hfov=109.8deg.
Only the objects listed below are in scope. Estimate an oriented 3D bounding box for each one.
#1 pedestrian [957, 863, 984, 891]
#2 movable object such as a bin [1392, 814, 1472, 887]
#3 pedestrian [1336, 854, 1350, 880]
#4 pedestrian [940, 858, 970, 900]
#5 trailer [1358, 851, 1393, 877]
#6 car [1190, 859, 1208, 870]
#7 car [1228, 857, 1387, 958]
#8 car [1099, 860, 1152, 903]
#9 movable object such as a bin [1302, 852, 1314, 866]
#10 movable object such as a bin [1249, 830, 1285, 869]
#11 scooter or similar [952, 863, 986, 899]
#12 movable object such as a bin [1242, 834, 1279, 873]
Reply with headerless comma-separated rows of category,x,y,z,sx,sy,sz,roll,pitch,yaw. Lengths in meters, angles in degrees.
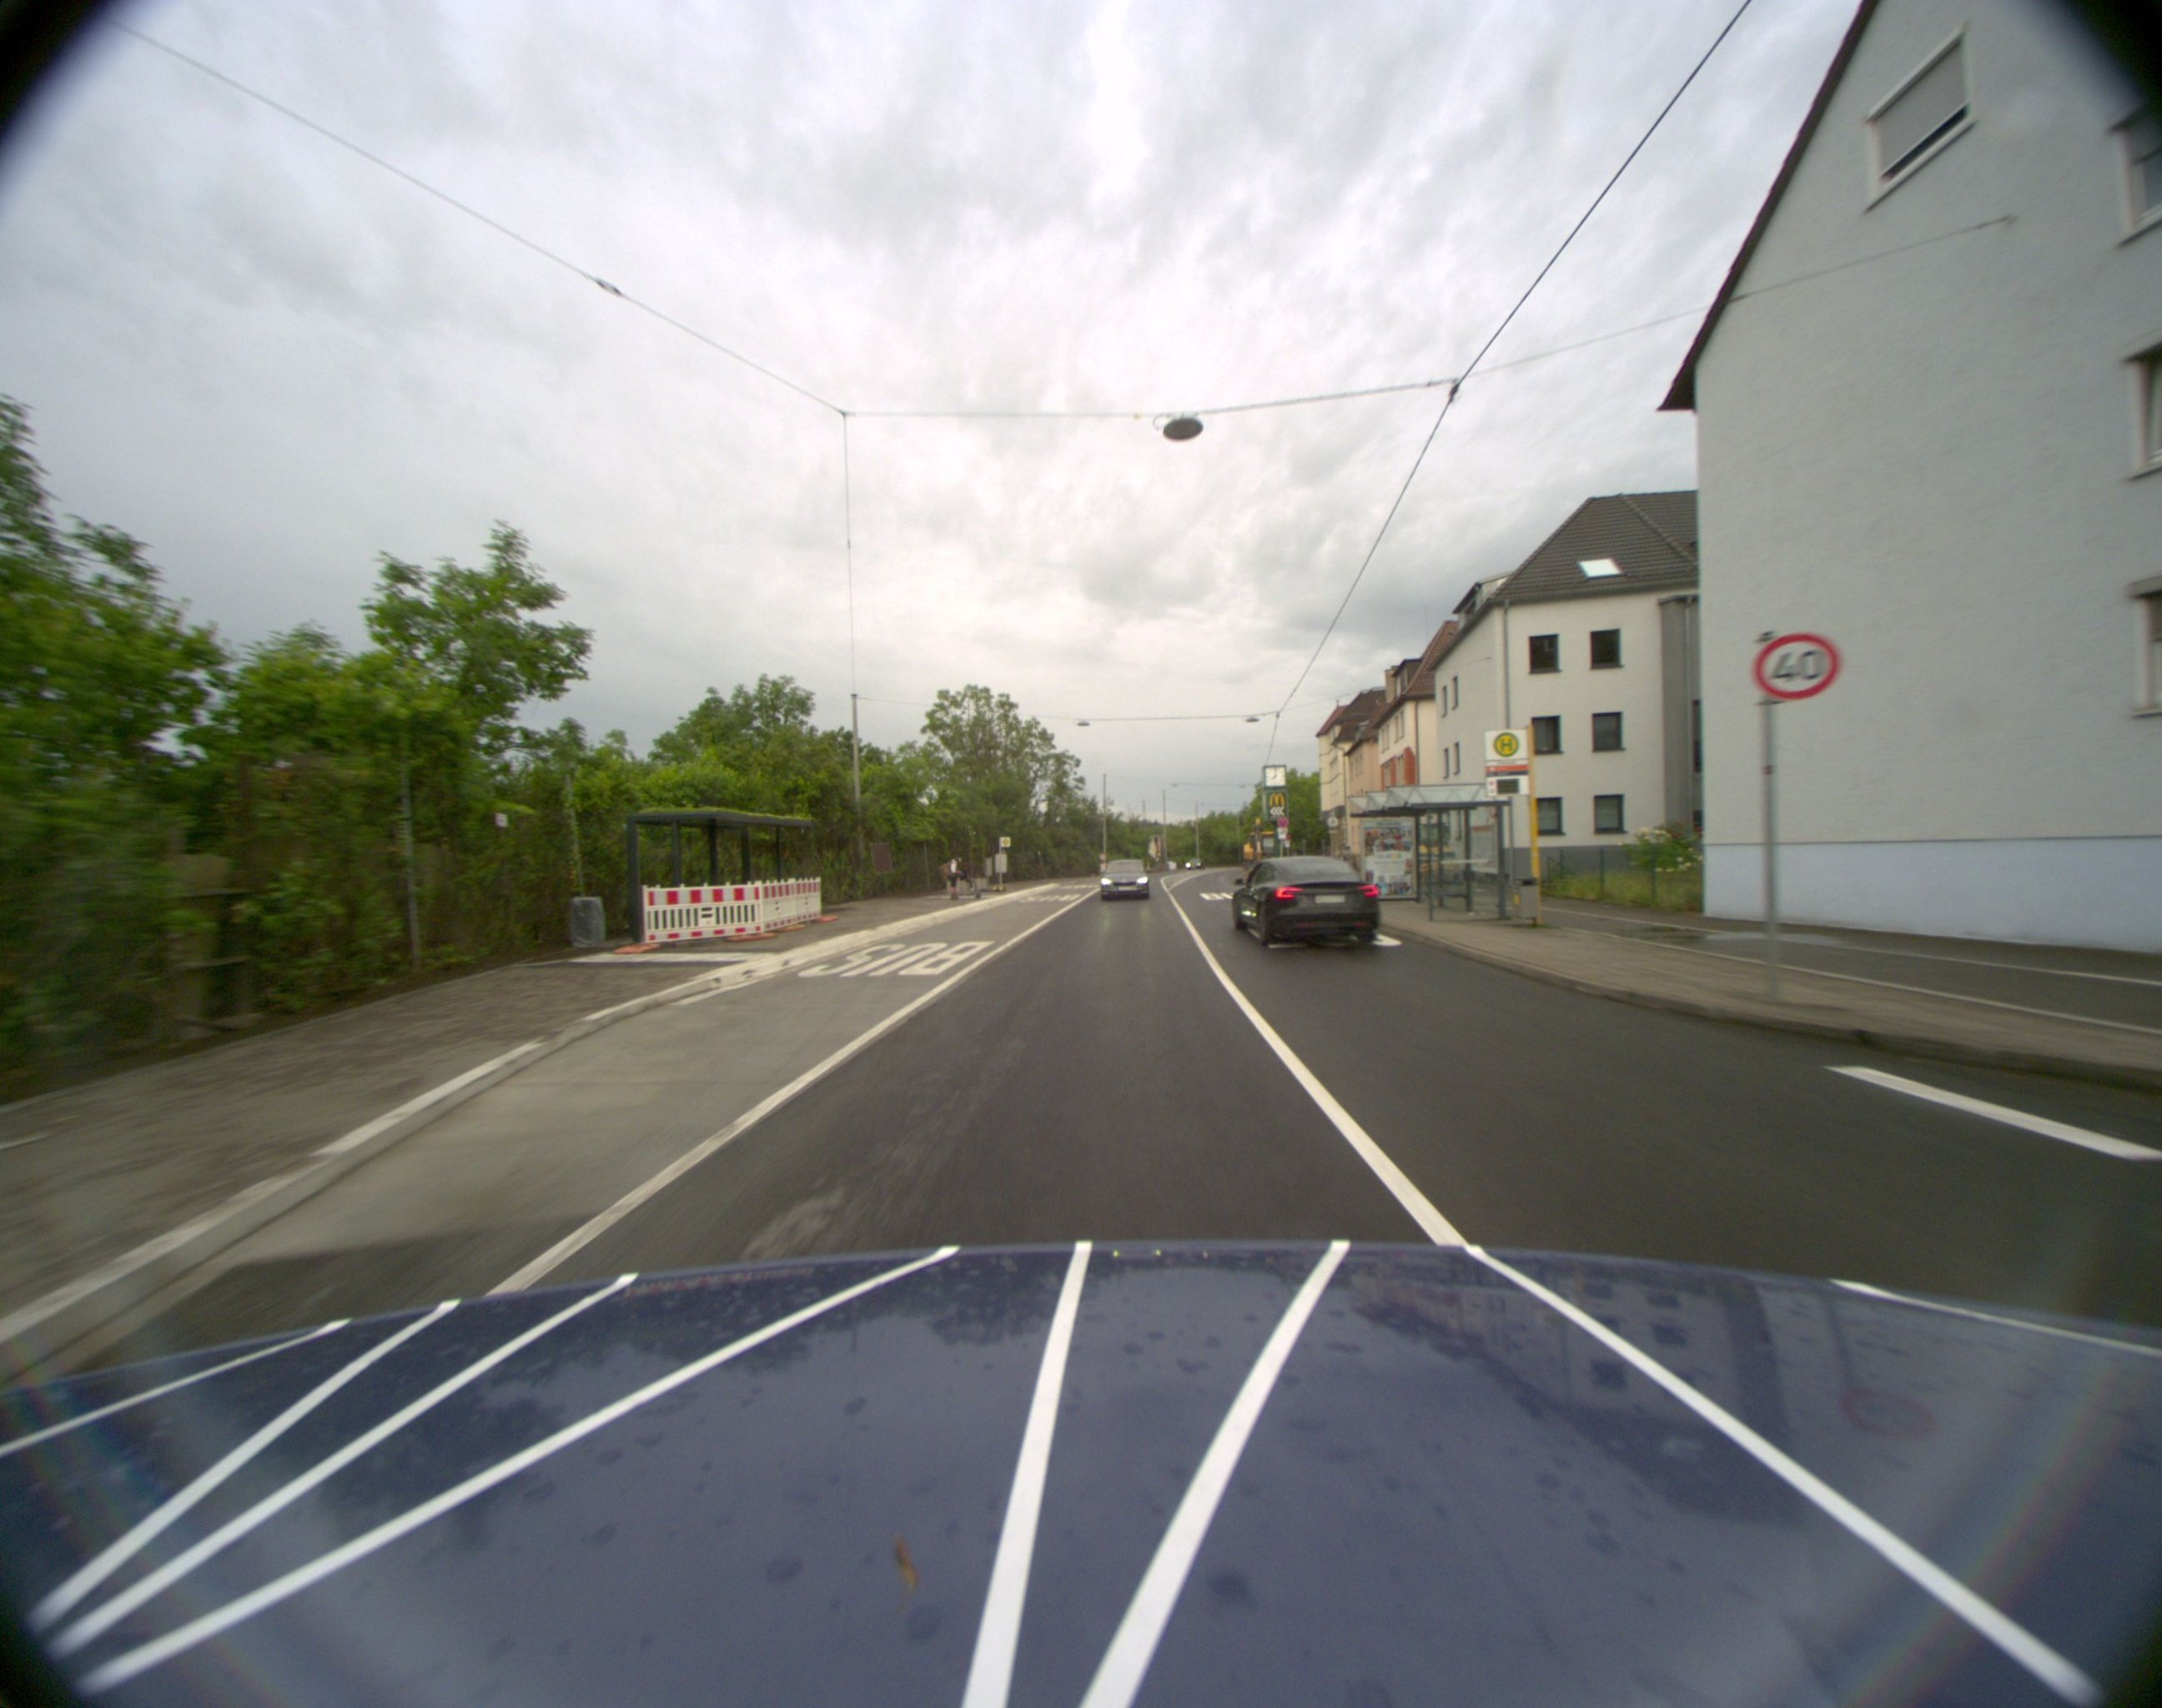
pedestrian,-5.474,1.115,37.664,1.069,1.322,0.808,-2,1,-31
movable object such as a bin,14.929,-0.130,32.628,2.132,2.790,4.984,-4,-1,15
pedestrian,15.923,0.769,46.220,0.603,1.519,1.039,-3,-1,11
pedestrian,-4.735,0.930,28.496,0.922,1.538,0.543,-2,1,-31
trailer,17.096,0.557,44.254,1.326,1.390,4.000,-2,0,13
car,14.701,1.283,94.477,1.604,1.295,3.718,-3,-1,18
car,3.833,0.815,13.617,1.787,1.444,4.391,-2,0,4
car,1.715,0.996,29.029,1.836,1.429,4.001,-2,0,4
movable object such as a bin,22.928,0.507,76.693,1.159,1.294,1.249,-2,0,19
movable object such as a bin,19.772,-0.441,80.387,2.952,3.821,8.138,-2,0,19
scooter or similar,-4.188,1.014,28.549,1.245,1.307,0.231,-2,1,-34
movable object such as a bin,15.245,-0.032,64.599,2.828,3.094,4.638,-2,-1,13
